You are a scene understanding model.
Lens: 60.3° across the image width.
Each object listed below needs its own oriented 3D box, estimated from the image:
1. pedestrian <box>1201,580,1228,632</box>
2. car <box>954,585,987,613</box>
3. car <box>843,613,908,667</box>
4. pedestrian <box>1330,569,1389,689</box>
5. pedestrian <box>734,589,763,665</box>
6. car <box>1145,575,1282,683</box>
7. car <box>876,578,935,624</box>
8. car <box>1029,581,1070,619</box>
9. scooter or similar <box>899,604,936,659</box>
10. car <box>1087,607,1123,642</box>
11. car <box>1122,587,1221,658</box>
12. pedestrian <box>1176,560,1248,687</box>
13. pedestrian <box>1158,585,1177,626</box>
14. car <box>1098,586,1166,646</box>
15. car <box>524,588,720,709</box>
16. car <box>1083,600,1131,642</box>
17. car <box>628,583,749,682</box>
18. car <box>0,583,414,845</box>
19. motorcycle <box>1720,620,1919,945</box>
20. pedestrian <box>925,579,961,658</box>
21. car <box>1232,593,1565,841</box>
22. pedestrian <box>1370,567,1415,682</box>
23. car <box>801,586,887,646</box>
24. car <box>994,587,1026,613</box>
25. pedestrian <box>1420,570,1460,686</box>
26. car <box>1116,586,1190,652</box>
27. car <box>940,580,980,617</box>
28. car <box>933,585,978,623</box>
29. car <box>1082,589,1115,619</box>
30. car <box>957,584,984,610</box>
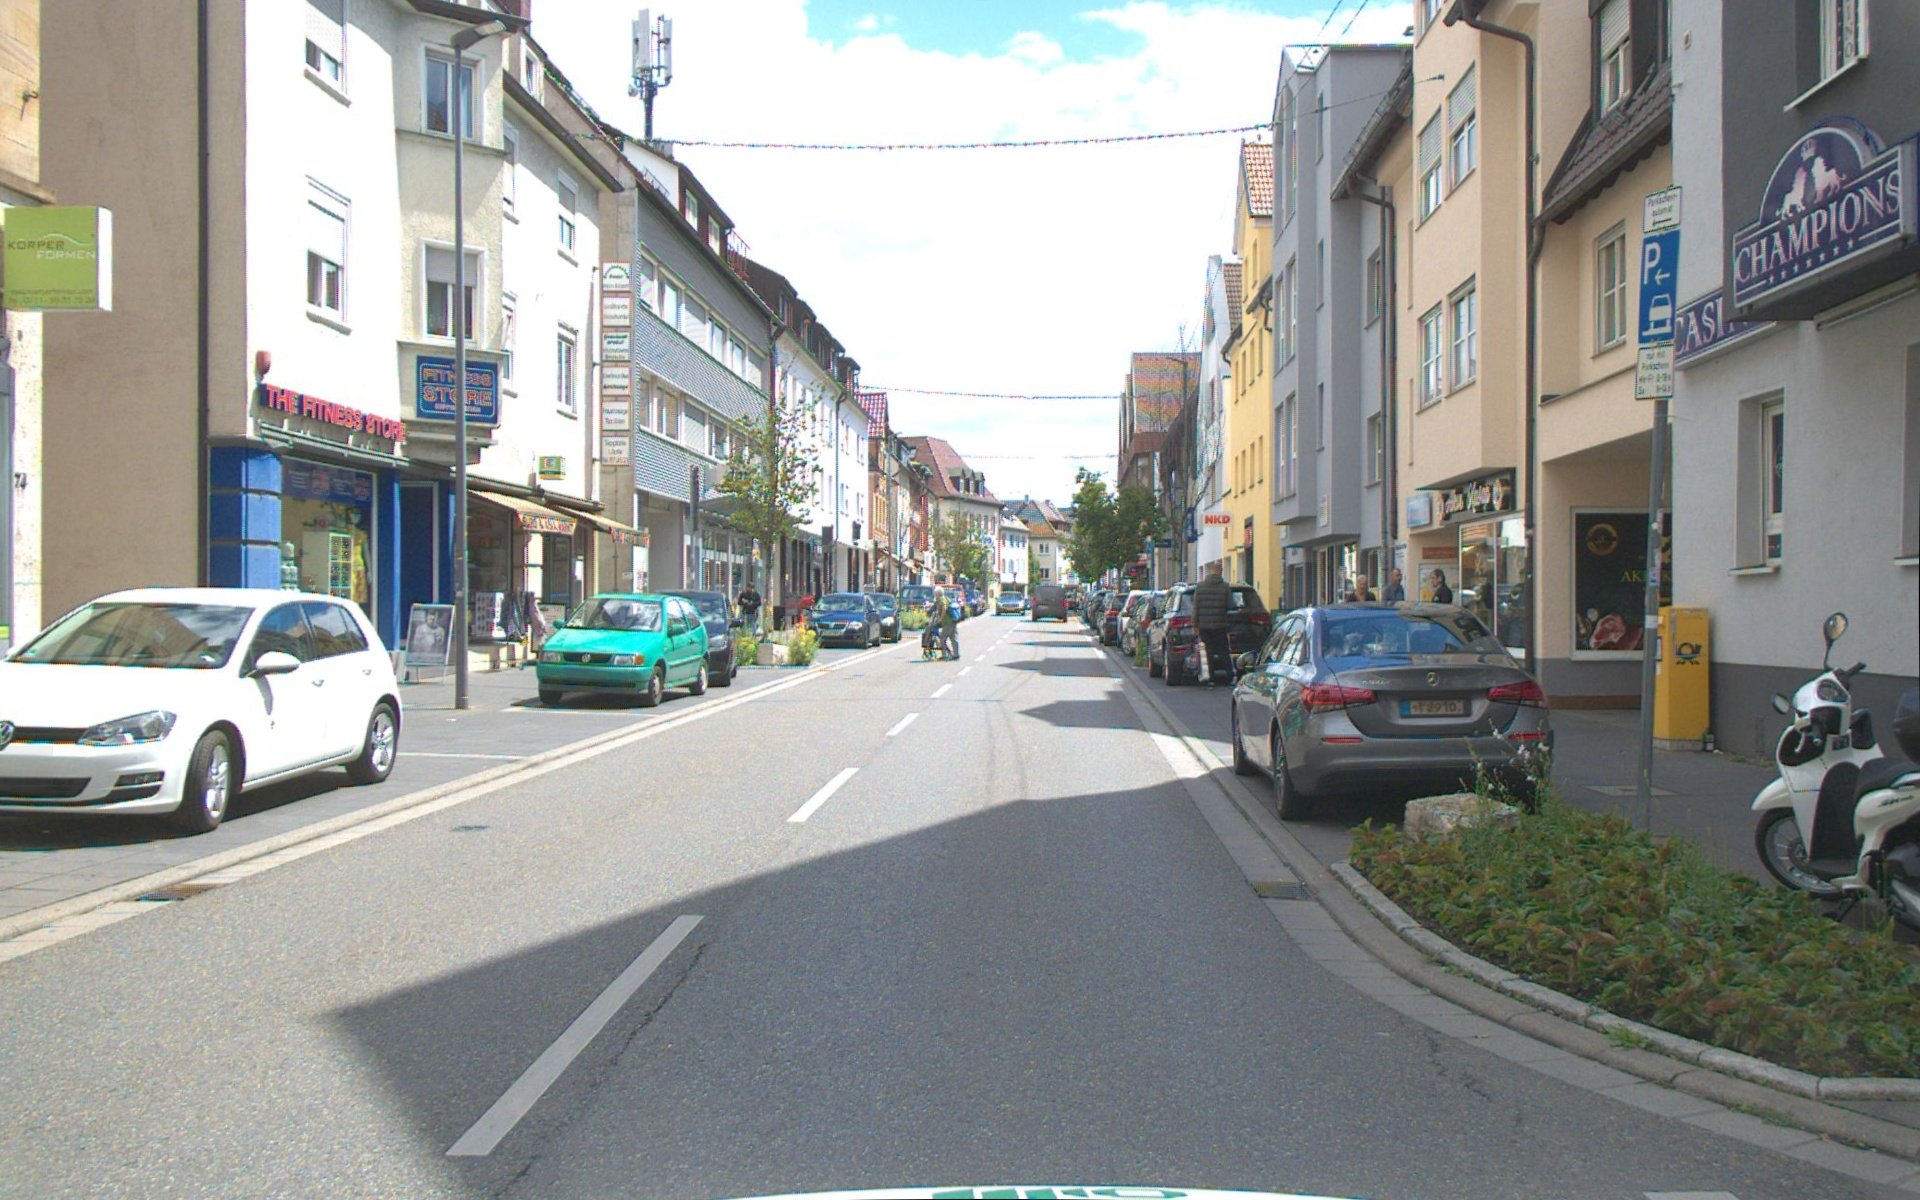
[{"bbox_3d":[7.742,0.174,50.381,0.734,1.580,0.726,0,-1,3],"label":"pedestrian"},{"bbox_3d":[0.673,-0.069,102.079,1.761,1.626,4.391,1,0,4],"label":"car"},{"bbox_3d":[-2.610,1.211,51.788,1.753,1.529,4.178,2,0,0],"label":"car"},{"bbox_3d":[5.897,0.424,24.412,0.728,1.748,0.656,0,-1,2],"label":"pedestrian"},{"bbox_3d":[-5.028,0.643,39.351,0.537,1.788,0.729,2,-1,0],"label":"pedestrian"},{"bbox_3d":[4.180,0.438,27.852,1.762,1.631,4.205,-1,0,2],"label":"car"},{"bbox_3d":[-2.205,0.057,68.467,1.778,1.786,4.672,2,0,6],"label":"car"},{"bbox_3d":[4.694,0.034,86.028,1.998,1.880,5.002,2,0,4],"label":"car"},{"bbox_3d":[-0.913,0.678,35.540,0.766,1.145,0.630,2,-1,-1],"label":"scooter or similar"},{"bbox_3d":[7.194,1.205,82.315,1.685,1.604,4.431,2,0,5],"label":"car"},{"bbox_3d":[4.746,0.505,37.635,1.654,1.466,4.295,-2,0,0],"label":"car"},{"bbox_3d":[3.858,0.356,25.369,0.955,1.896,0.865,-1,-1,2],"label":"pedestrian"},{"bbox_3d":[9.182,0.245,73.233,0.725,1.767,0.757,2,-1,4],"label":"pedestrian"},{"bbox_3d":[4.935,0.414,47.849,1.654,1.497,4.526,2,2,3],"label":"car"},{"bbox_3d":[-4.464,0.616,22.349,1.552,1.439,3.670,2,0,5],"label":"car"},{"bbox_3d":[5.997,0.848,67.885,1.685,1.604,4.110,2,0,2],"label":"car"},{"bbox_3d":[-4.389,0.509,27.166,1.565,1.471,3.554,2,0,-4],"label":"car"},{"bbox_3d":[-5.310,0.634,11.198,1.808,1.422,4.037,2,0,0],"label":"car"},{"bbox_3d":[4.142,0.742,7.078,0.645,1.281,2.376,2,0,-1],"label":"motorcycle"},{"bbox_3d":[-0.366,0.395,35.577,0.716,1.646,0.651,2,-1,-2],"label":"pedestrian"},{"bbox_3d":[3.010,0.727,12.198,1.671,1.445,4.321,2,0,6],"label":"car"},{"bbox_3d":[6.749,0.382,25.839,0.524,1.748,0.606,2,-1,2],"label":"pedestrian"},{"bbox_3d":[-3.149,0.411,45.765,1.752,1.539,4.714,1,0,3],"label":"car"},{"bbox_3d":[3.248,-0.005,106.648,1.865,1.591,4.647,2,0,4],"label":"car"},{"bbox_3d":[7.383,0.432,25.464,0.426,1.748,0.537,2,-1,1],"label":"pedestrian"},{"bbox_3d":[5.002,0.494,43.188,1.654,1.601,3.757,2,0,3],"label":"car"},{"bbox_3d":[0.043,-0.053,89.535,1.778,1.921,4.843,2,0,4],"label":"car"},{"bbox_3d":[-0.183,0.213,81.555,1.778,1.786,4.466,2,0,5],"label":"car"},{"bbox_3d":[7.359,0.223,88.002,1.685,1.520,4.111,2,0,5],"label":"car"},{"bbox_3d":[0.693,-0.214,107.651,1.762,1.632,4.351,0,0,0],"label":"car"}]
